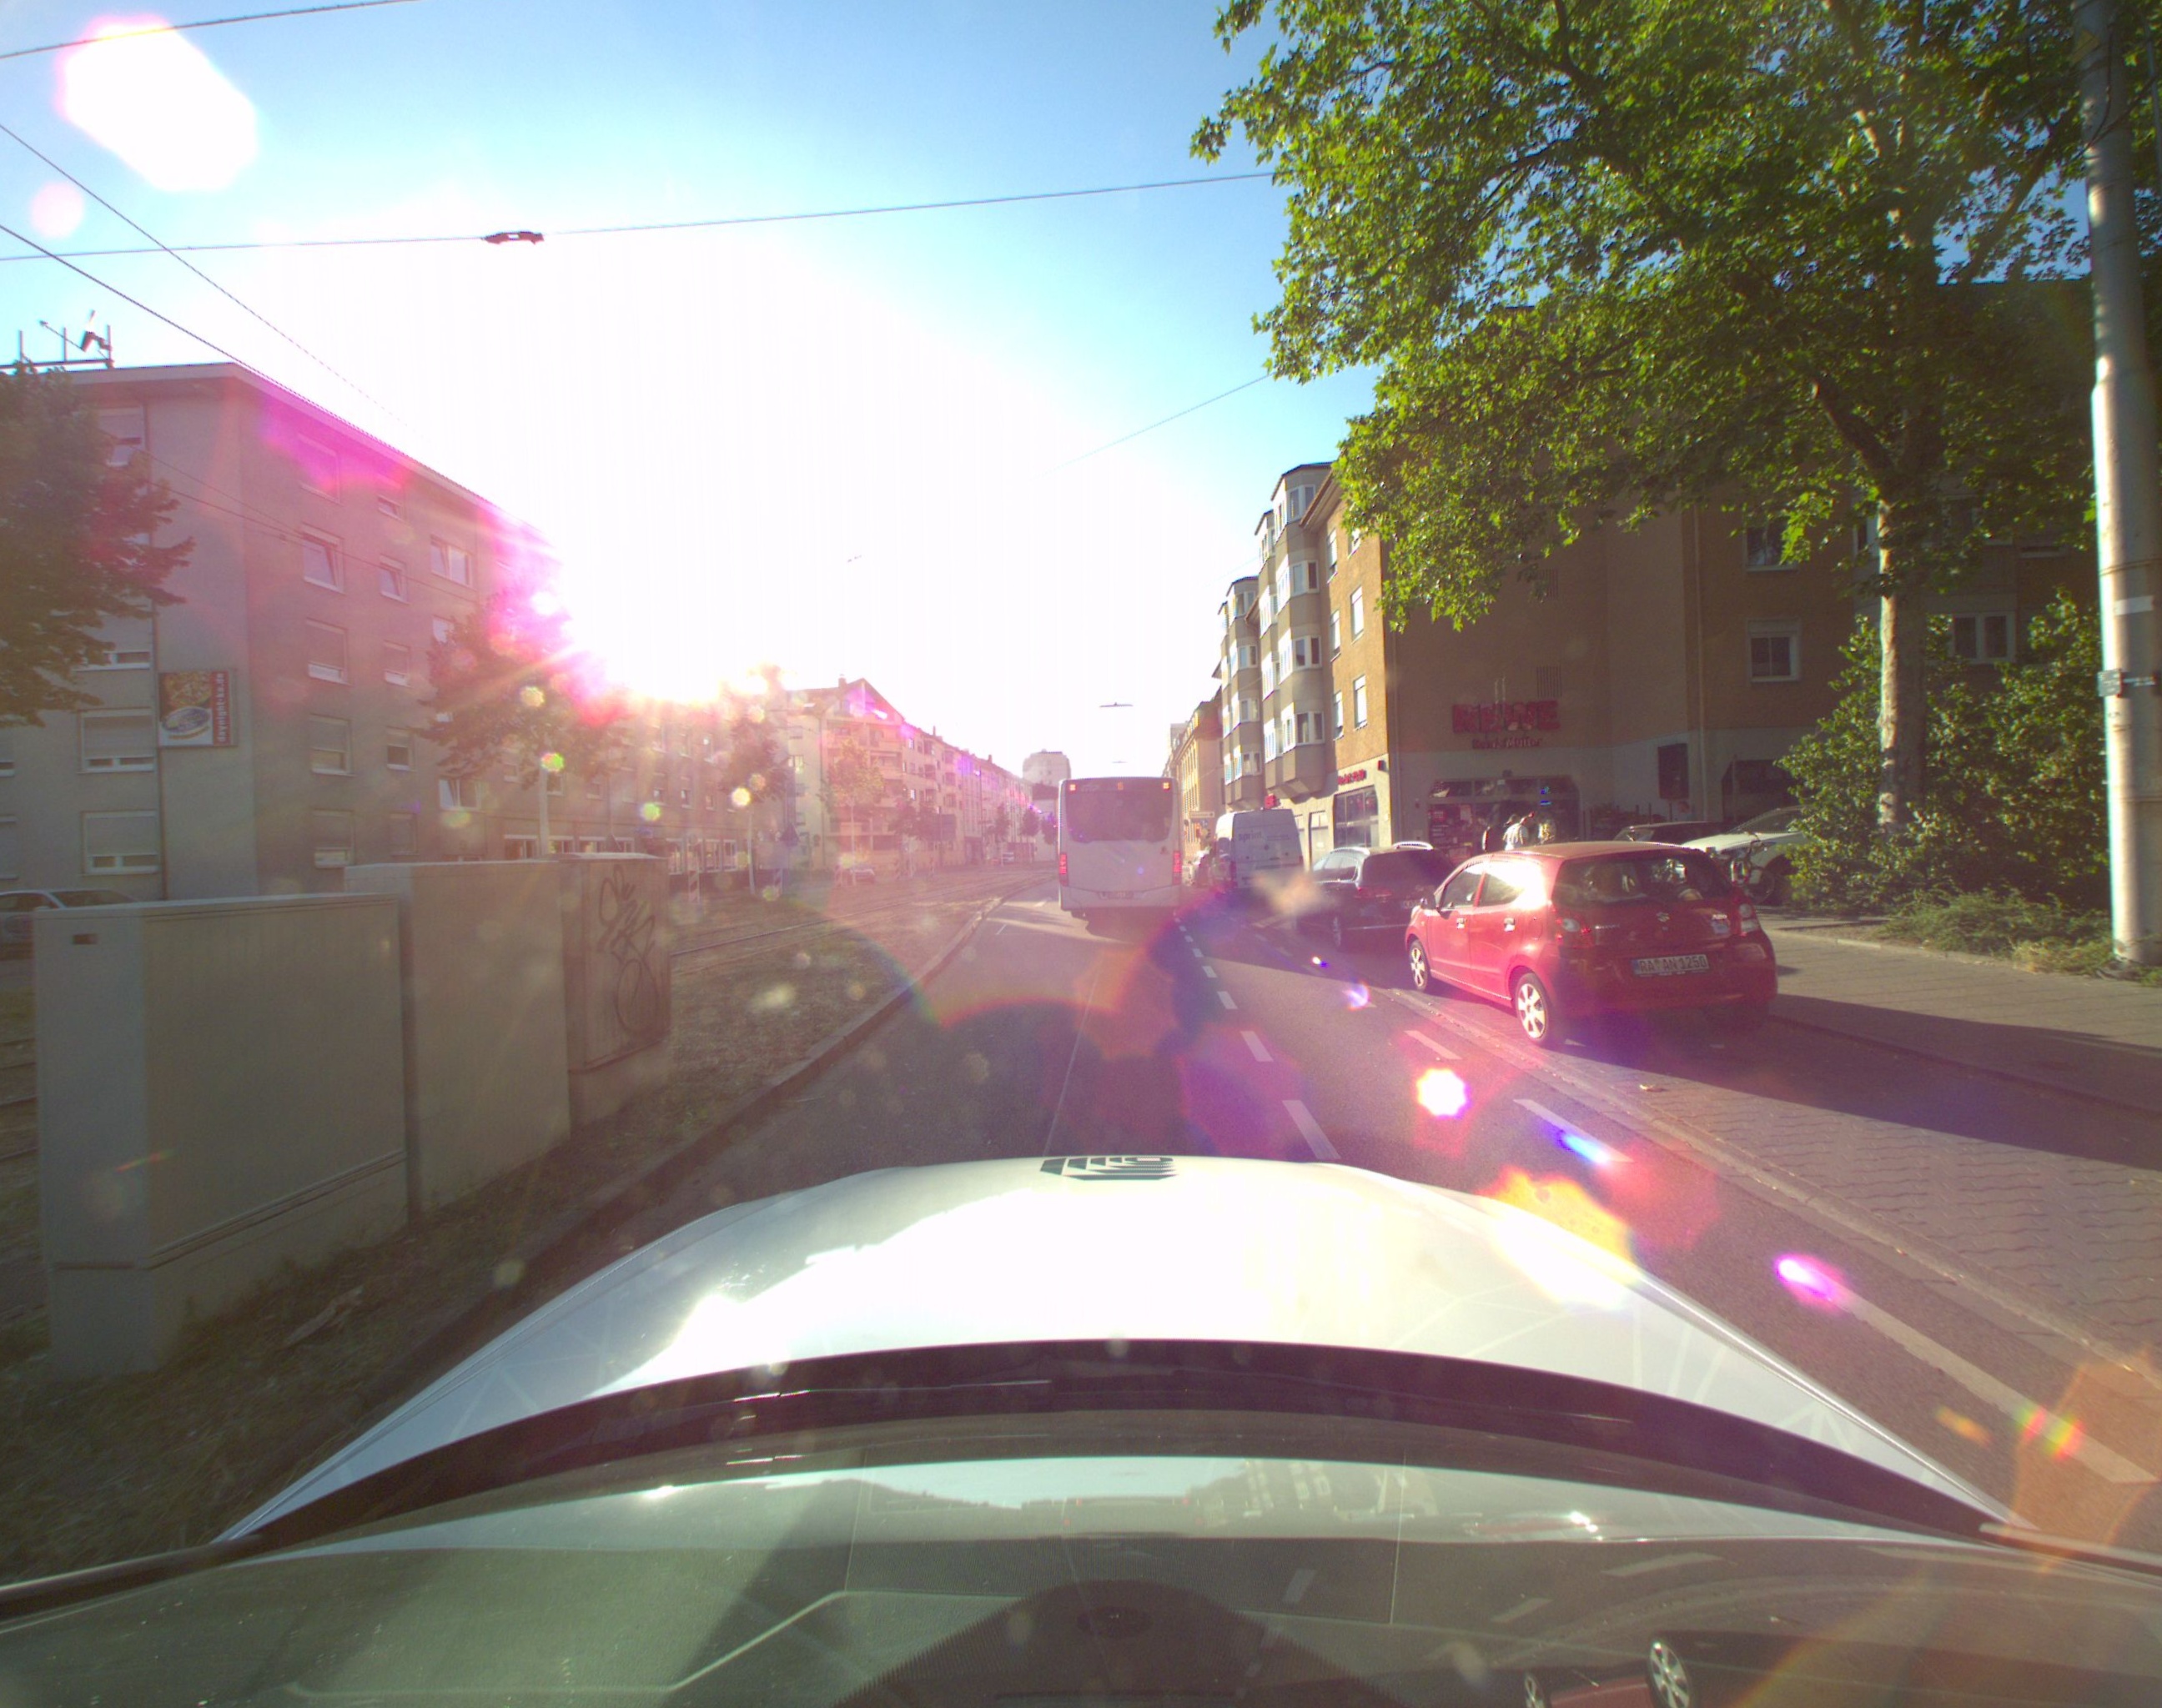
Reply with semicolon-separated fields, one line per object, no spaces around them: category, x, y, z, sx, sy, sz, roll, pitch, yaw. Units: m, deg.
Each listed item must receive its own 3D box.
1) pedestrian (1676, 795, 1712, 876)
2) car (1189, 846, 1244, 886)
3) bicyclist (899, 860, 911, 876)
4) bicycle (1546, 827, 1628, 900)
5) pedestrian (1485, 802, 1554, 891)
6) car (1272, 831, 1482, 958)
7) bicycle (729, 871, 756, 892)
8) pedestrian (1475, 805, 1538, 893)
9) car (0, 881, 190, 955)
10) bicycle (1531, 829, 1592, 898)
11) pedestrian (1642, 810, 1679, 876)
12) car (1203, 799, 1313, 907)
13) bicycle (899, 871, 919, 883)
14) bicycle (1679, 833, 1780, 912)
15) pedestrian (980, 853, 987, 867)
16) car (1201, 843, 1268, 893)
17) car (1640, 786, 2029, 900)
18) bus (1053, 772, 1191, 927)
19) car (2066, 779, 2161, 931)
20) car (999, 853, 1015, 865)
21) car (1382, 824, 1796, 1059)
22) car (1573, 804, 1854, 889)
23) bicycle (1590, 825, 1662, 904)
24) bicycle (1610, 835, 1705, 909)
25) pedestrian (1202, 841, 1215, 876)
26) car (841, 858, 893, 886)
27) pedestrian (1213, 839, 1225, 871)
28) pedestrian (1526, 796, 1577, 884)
pedestrian;14.474;-0.432;19.236;0.578;1.882;0.468;-2;0;-38
car;5.753;0.458;35.018;1.830;1.536;4.234;-3;0;4
bicyclist;-16.173;1.266;74.766;0.522;1.447;0.971;-3;0;34
bicycle;9.140;0.159;14.684;1.590;1.226;0.644;-3;0;-35
pedestrian;8.590;-0.155;15.996;0.658;1.636;0.989;-6;1;-4
car;4.423;0.532;13.003;1.690;1.530;4.654;-5;0;2
bicycle;-20.036;1.610;48.263;0.743;1.115;1.780;-2;0;3
pedestrian;9.036;-0.107;17.318;0.803;1.751;0.769;-5;1;3
car;-24.072;1.524;19.580;3.791;1.512;1.824;-3;0;11
bicycle;9.133;0.166;15.461;1.528;1.226;0.399;-3;0;-37
pedestrian;13.962;-0.267;19.621;0.640;1.568;0.418;-2;0;-27
car;4.920;-0.023;23.502;2.008;2.551;5.790;-6;0;3
bicycle;-15.873;2.087;75.218;0.522;0.984;1.895;-3;0;34
bicycle;9.266;0.243;11.615;1.687;1.014;0.644;-3;0;-35
pedestrian;-14.344;0.884;119.980;0.784;2.013;0.890;-2;0;0
car;5.403;0.447;29.032;1.830;1.588;3.789;-3;0;4
car;12.307;-0.179;13.570;4.600;1.709;2.001;1;0;2
bus;1.090;-0.099;20.677;2.727;3.056;8.862;-1;0;3
car;12.262;0.025;7.791;3.484;1.482;1.774;1;0;2
car;-11.776;0.787;129.849;1.803;1.797;4.250;-2;0;5
car;4.119;0.594;7.361;1.563;1.494;3.629;-4;0;3
car;12.533;-0.094;16.377;3.998;1.432;2.001;-2;-3;2
bicycle;9.109;0.152;13.587;1.592;1.226;0.639;-3;0;-44
bicycle;8.719;0.257;12.307;1.590;1.014;0.644;-3;0;-35
pedestrian;6.650;0.221;42.424;0.545;1.784;0.449;-2;0;-2
car;-14.606;1.174;55.899;1.803;1.559;4.941;-5;1;5
pedestrian;7.860;0.079;46.412;0.544;1.784;0.450;-2;0;3
pedestrian;9.930;-0.287;17.206;0.526;1.781;0.650;-6;1;-4
